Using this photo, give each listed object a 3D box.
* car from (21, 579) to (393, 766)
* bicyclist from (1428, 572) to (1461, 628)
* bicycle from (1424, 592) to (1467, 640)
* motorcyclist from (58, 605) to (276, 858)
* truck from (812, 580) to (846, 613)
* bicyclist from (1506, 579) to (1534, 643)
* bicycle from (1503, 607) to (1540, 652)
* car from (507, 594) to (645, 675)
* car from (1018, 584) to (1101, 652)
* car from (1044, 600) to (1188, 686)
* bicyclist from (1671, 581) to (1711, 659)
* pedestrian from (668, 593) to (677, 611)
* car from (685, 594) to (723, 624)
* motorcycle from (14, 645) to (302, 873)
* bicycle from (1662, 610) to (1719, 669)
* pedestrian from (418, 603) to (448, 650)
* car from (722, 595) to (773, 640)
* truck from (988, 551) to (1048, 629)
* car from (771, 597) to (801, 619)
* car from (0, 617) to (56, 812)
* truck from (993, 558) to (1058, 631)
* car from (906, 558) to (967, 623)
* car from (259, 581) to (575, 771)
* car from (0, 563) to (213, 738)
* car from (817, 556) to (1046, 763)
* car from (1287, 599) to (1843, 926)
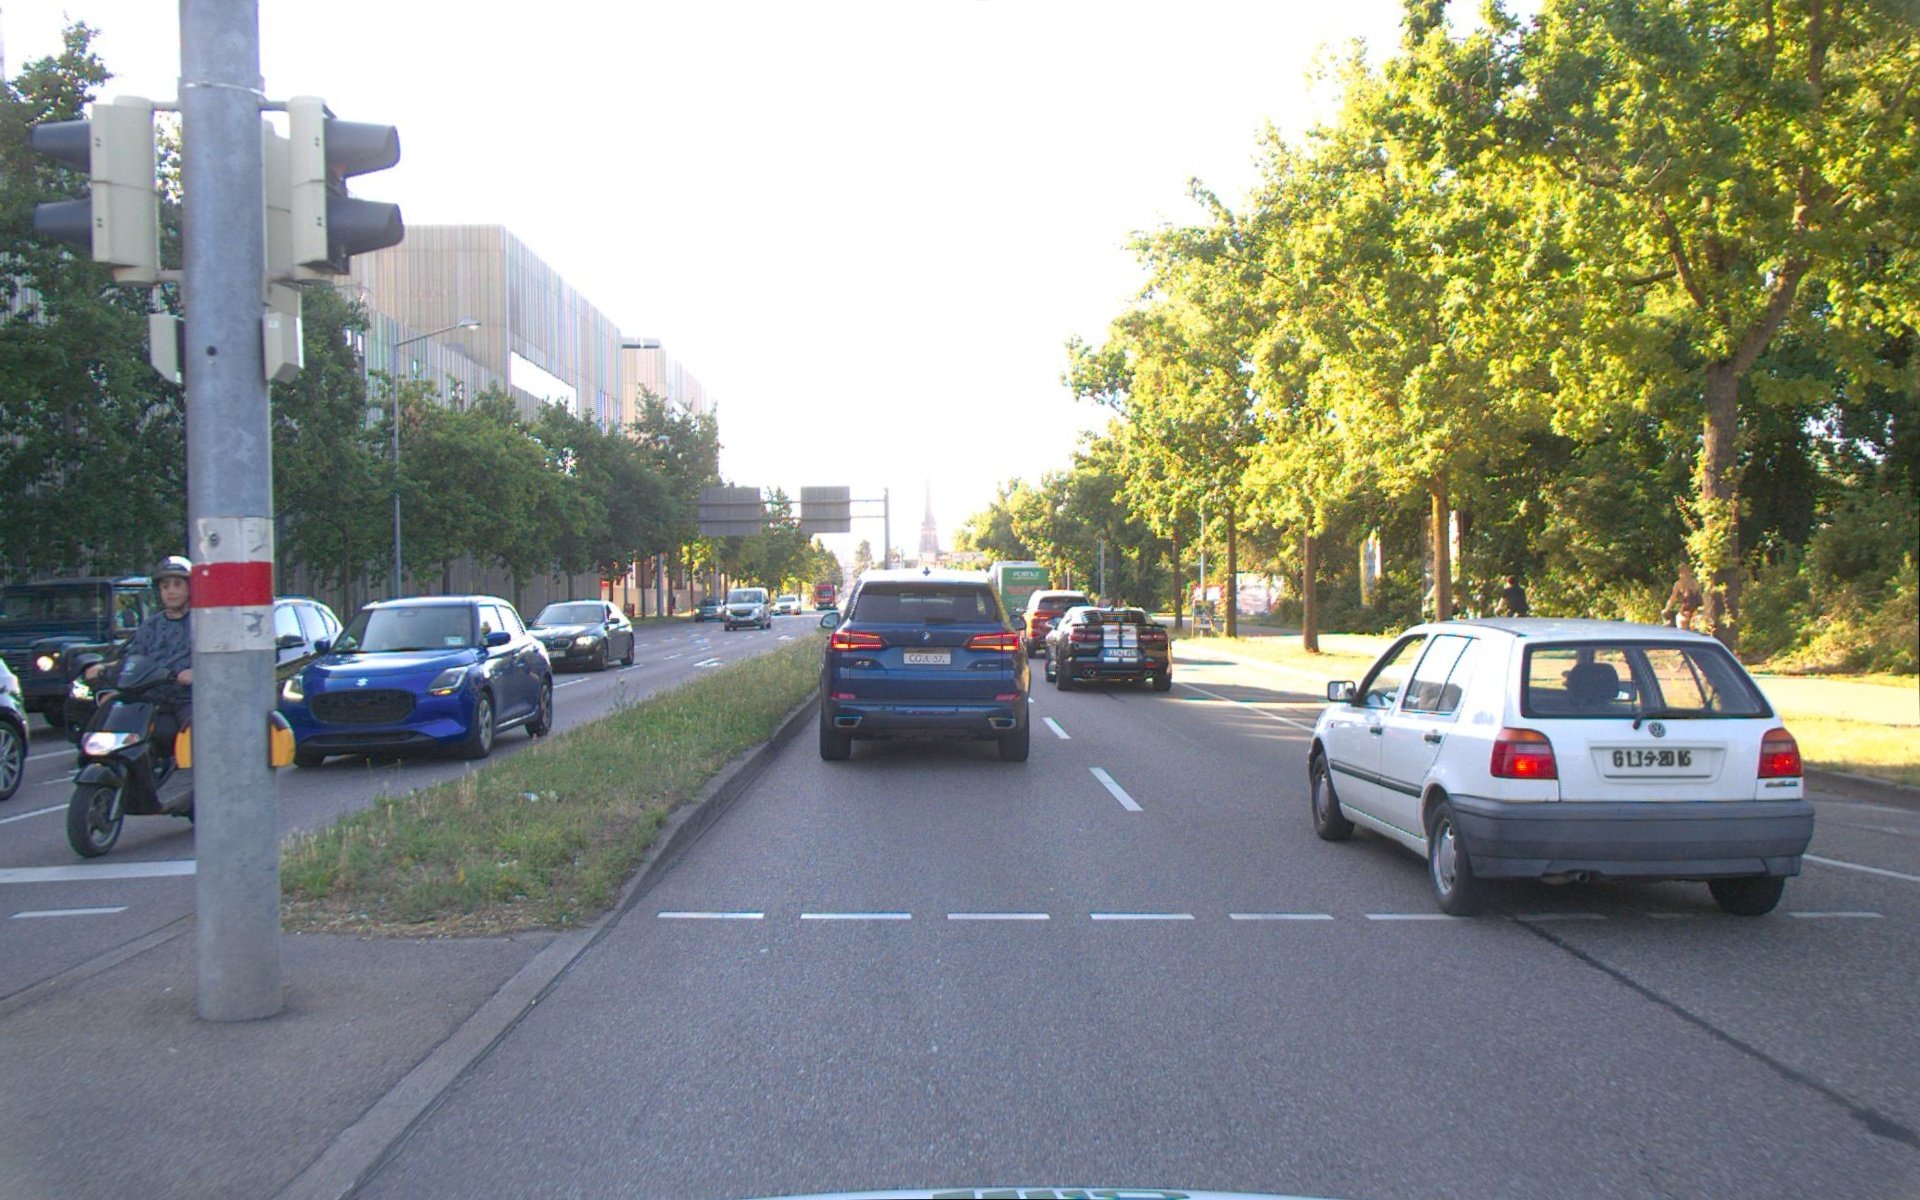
[{"bbox_3d":[-7.920,0.717,17.984,1.954,1.619,4.712,-4,-1,-2],"label":"car"},{"bbox_3d":[11.769,0.015,40.186,0.532,1.339,0.835,1,-1,-1],"label":"bicyclist"},{"bbox_3d":[11.770,0.393,40.122,0.553,1.132,1.621,1,-1,-1],"label":"bicycle"},{"bbox_3d":[-4.784,0.748,10.074,0.782,1.373,1.272,-2,1,-8],"label":"motorcyclist"},{"bbox_3d":[-17.483,-0.408,221.411,3.908,4.160,11.442,1,-1,-2],"label":"truck"},{"bbox_3d":[11.823,0.230,34.932,0.419,1.332,0.460,1,-1,-1],"label":"bicyclist"},{"bbox_3d":[11.829,0.610,34.857,0.428,0.930,1.026,1,-1,-1],"label":"bicycle"},{"bbox_3d":[-8.237,0.729,35.922,1.954,1.477,4.796,-5,-1,-3],"label":"car"},{"bbox_3d":[2.429,0.447,41.133,1.760,1.586,3.999,1,-1,-1],"label":"car"},{"bbox_3d":[2.524,0.693,27.693,1.953,1.317,3.999,1,-1,-1],"label":"car"},{"bbox_3d":[11.932,0.323,27.001,0.419,1.254,0.460,-1,-1,-1],"label":"bicyclist"},{"bbox_3d":[-24.685,0.169,141.948,0.614,1.548,0.718,1,-1,2],"label":"pedestrian"},{"bbox_3d":[-16.177,0.591,104.750,1.721,1.734,4.492,-4,-1,-2],"label":"car"},{"bbox_3d":[-4.789,0.886,10.104,0.824,1.094,2.397,-3,1,-8],"label":"motorcycle"},{"bbox_3d":[11.934,0.644,27.026,0.428,0.930,1.026,-2,-1,-1],"label":"bicycle"},{"bbox_3d":[-23.679,1.189,74.299,0.998,2.049,0.961,1,-1,-1],"label":"pedestrian"},{"bbox_3d":[-9.384,0.797,73.288,1.721,1.808,4.492,-4,-1,-2],"label":"car"},{"bbox_3d":[2.093,-0.326,60.645,1.955,2.715,3.999,1,-1,-1],"label":"truck"},{"bbox_3d":[-13.418,0.635,127.811,1.954,1.477,4.712,-5,-1,-2],"label":"car"},{"bbox_3d":[-8.314,0.850,11.451,1.953,1.501,4.078,1,-1,-2],"label":"car"},{"bbox_3d":[2.167,-0.147,55.751,1.955,2.356,3.999,1,-1,-1],"label":"truck"},{"bbox_3d":[-1.036,-0.348,69.758,2.095,2.621,5.080,1,-1,-6],"label":"car"},{"bbox_3d":[-5.053,0.663,15.941,1.667,1.477,3.857,-5,-1,0],"label":"car"},{"bbox_3d":[-11.538,0.605,21.602,1.759,2.013,3.992,-4,1,-2],"label":"car"},{"bbox_3d":[-0.285,0.542,16.507,1.953,1.764,4.531,1,-1,-1],"label":"car"},{"bbox_3d":[3.088,0.751,9.353,1.547,1.438,4.060,1,-1,-2],"label":"car"}]
